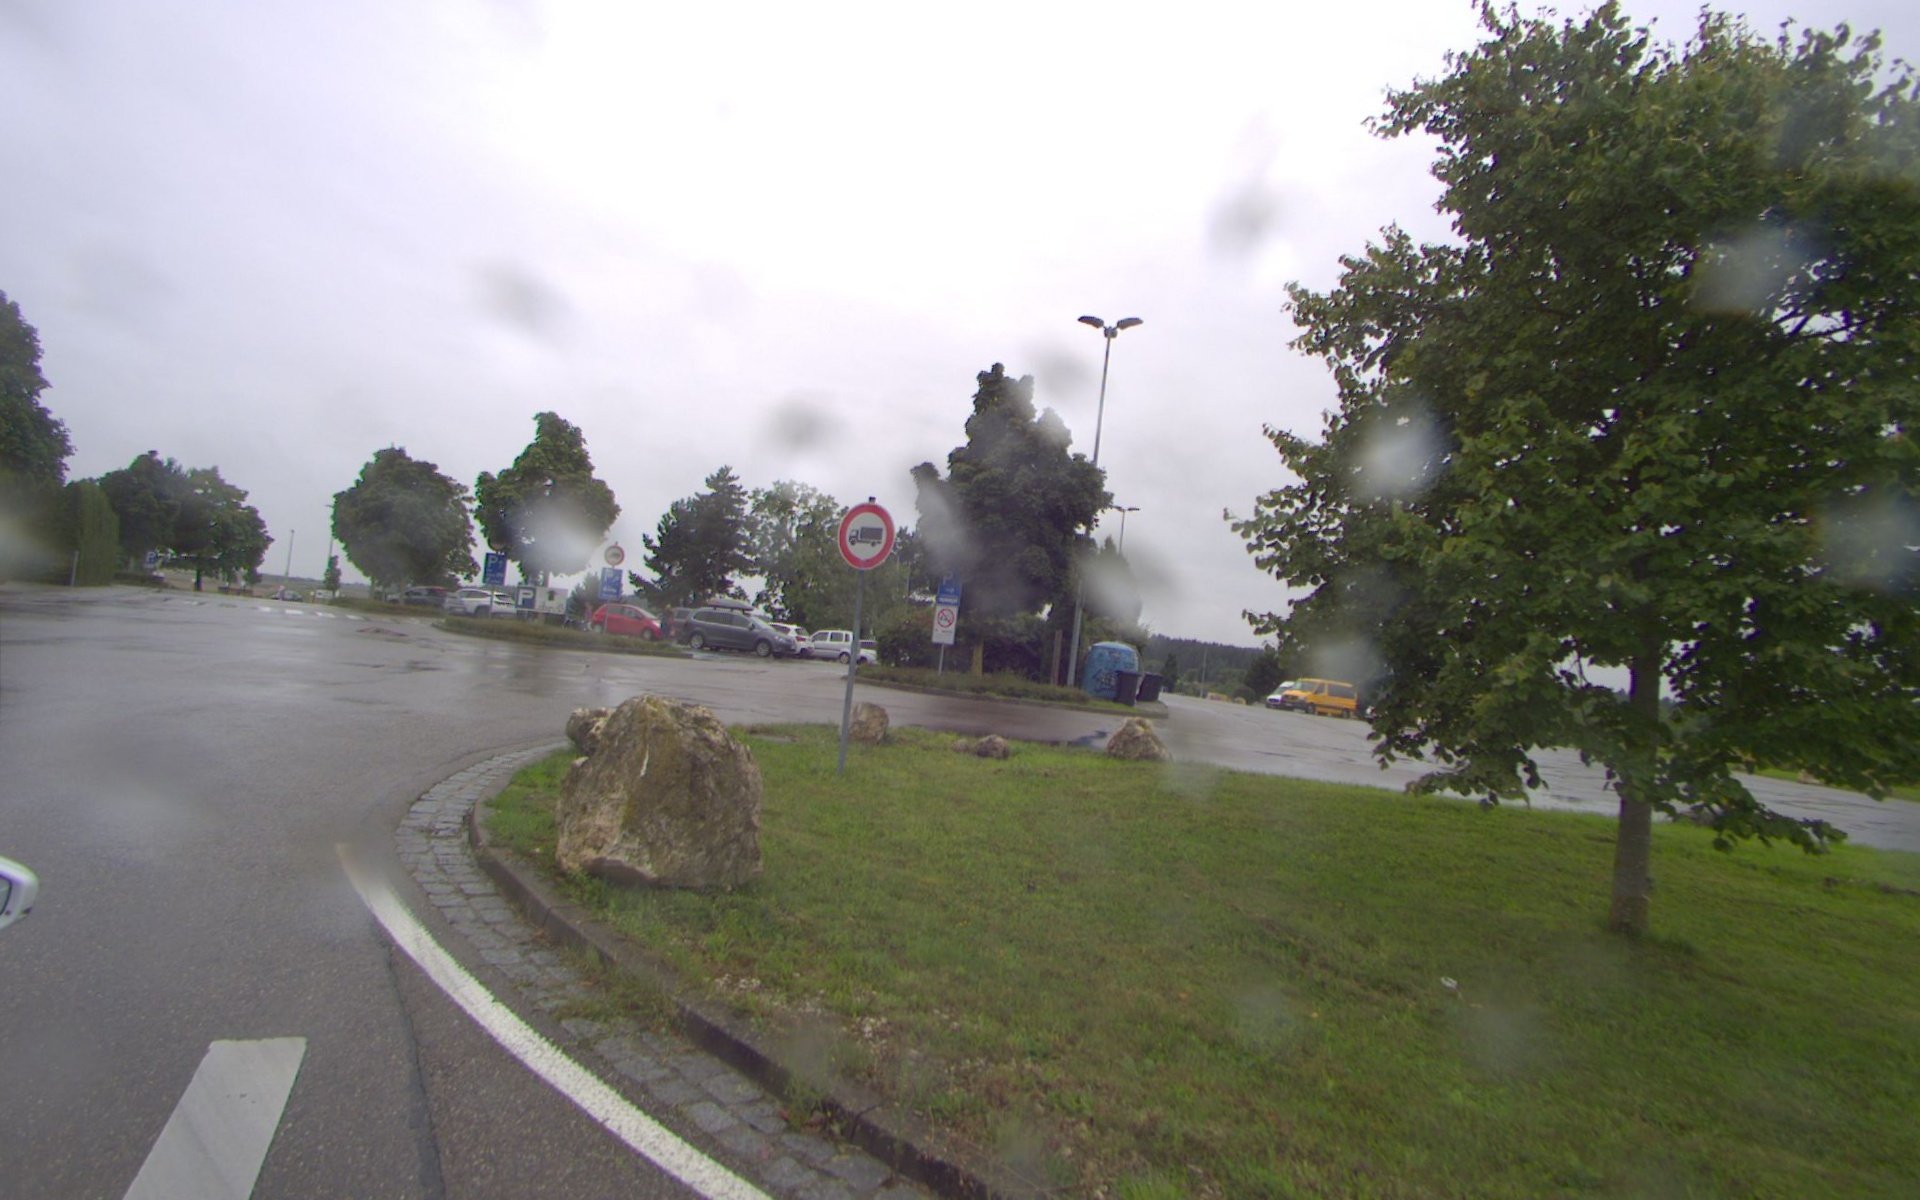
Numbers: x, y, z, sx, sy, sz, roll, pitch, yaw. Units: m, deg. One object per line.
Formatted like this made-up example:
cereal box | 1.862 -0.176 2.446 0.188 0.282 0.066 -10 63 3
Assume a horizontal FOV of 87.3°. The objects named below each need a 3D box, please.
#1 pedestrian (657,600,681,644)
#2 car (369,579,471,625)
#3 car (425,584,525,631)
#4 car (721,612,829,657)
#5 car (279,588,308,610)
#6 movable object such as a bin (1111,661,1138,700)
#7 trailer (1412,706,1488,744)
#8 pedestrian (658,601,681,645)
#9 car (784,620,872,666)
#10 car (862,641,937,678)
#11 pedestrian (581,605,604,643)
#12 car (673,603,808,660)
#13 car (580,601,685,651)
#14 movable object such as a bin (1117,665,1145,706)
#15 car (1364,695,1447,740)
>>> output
pedestrian | -11.601 0.899 40.100 0.704 1.656 0.646 6 -3 -11
car | -26.100 0.099 48.669 3.949 1.733 1.725 5 -4 10
car | -24.872 0.404 51.653 4.284 1.882 1.725 5 -4 10
car | -8.011 1.504 43.603 4.117 1.535 1.745 6 -1 12
car | -71.425 -0.092 107.844 1.687 2.034 3.985 8 -5 -22
movable object such as a bin | 4.298 2.103 26.338 0.446 0.960 0.402 7 0 -35
trailer | 25.825 6.584 52.979 3.962 1.549 1.687 9 -4 -33
pedestrian | -12.141 0.956 42.059 0.600 1.742 0.684 7 -4 -6
car | -6.786 2.214 51.774 3.946 1.882 1.855 5 -4 10
car | -3.859 3.810 64.550 4.284 1.882 1.855 5 -4 10
pedestrian | -14.229 0.941 38.954 0.638 1.376 0.449 9 -4 -30
car | -8.940 1.287 41.149 4.856 1.813 2.003 5 -2 10
car | -14.687 1.166 45.216 3.946 1.813 1.853 5 -2 10
movable object such as a bin | 4.385 2.186 25.797 0.465 0.960 0.434 7 -1 -12
car | 22.531 5.944 50.839 3.962 1.796 1.814 9 -4 -32
